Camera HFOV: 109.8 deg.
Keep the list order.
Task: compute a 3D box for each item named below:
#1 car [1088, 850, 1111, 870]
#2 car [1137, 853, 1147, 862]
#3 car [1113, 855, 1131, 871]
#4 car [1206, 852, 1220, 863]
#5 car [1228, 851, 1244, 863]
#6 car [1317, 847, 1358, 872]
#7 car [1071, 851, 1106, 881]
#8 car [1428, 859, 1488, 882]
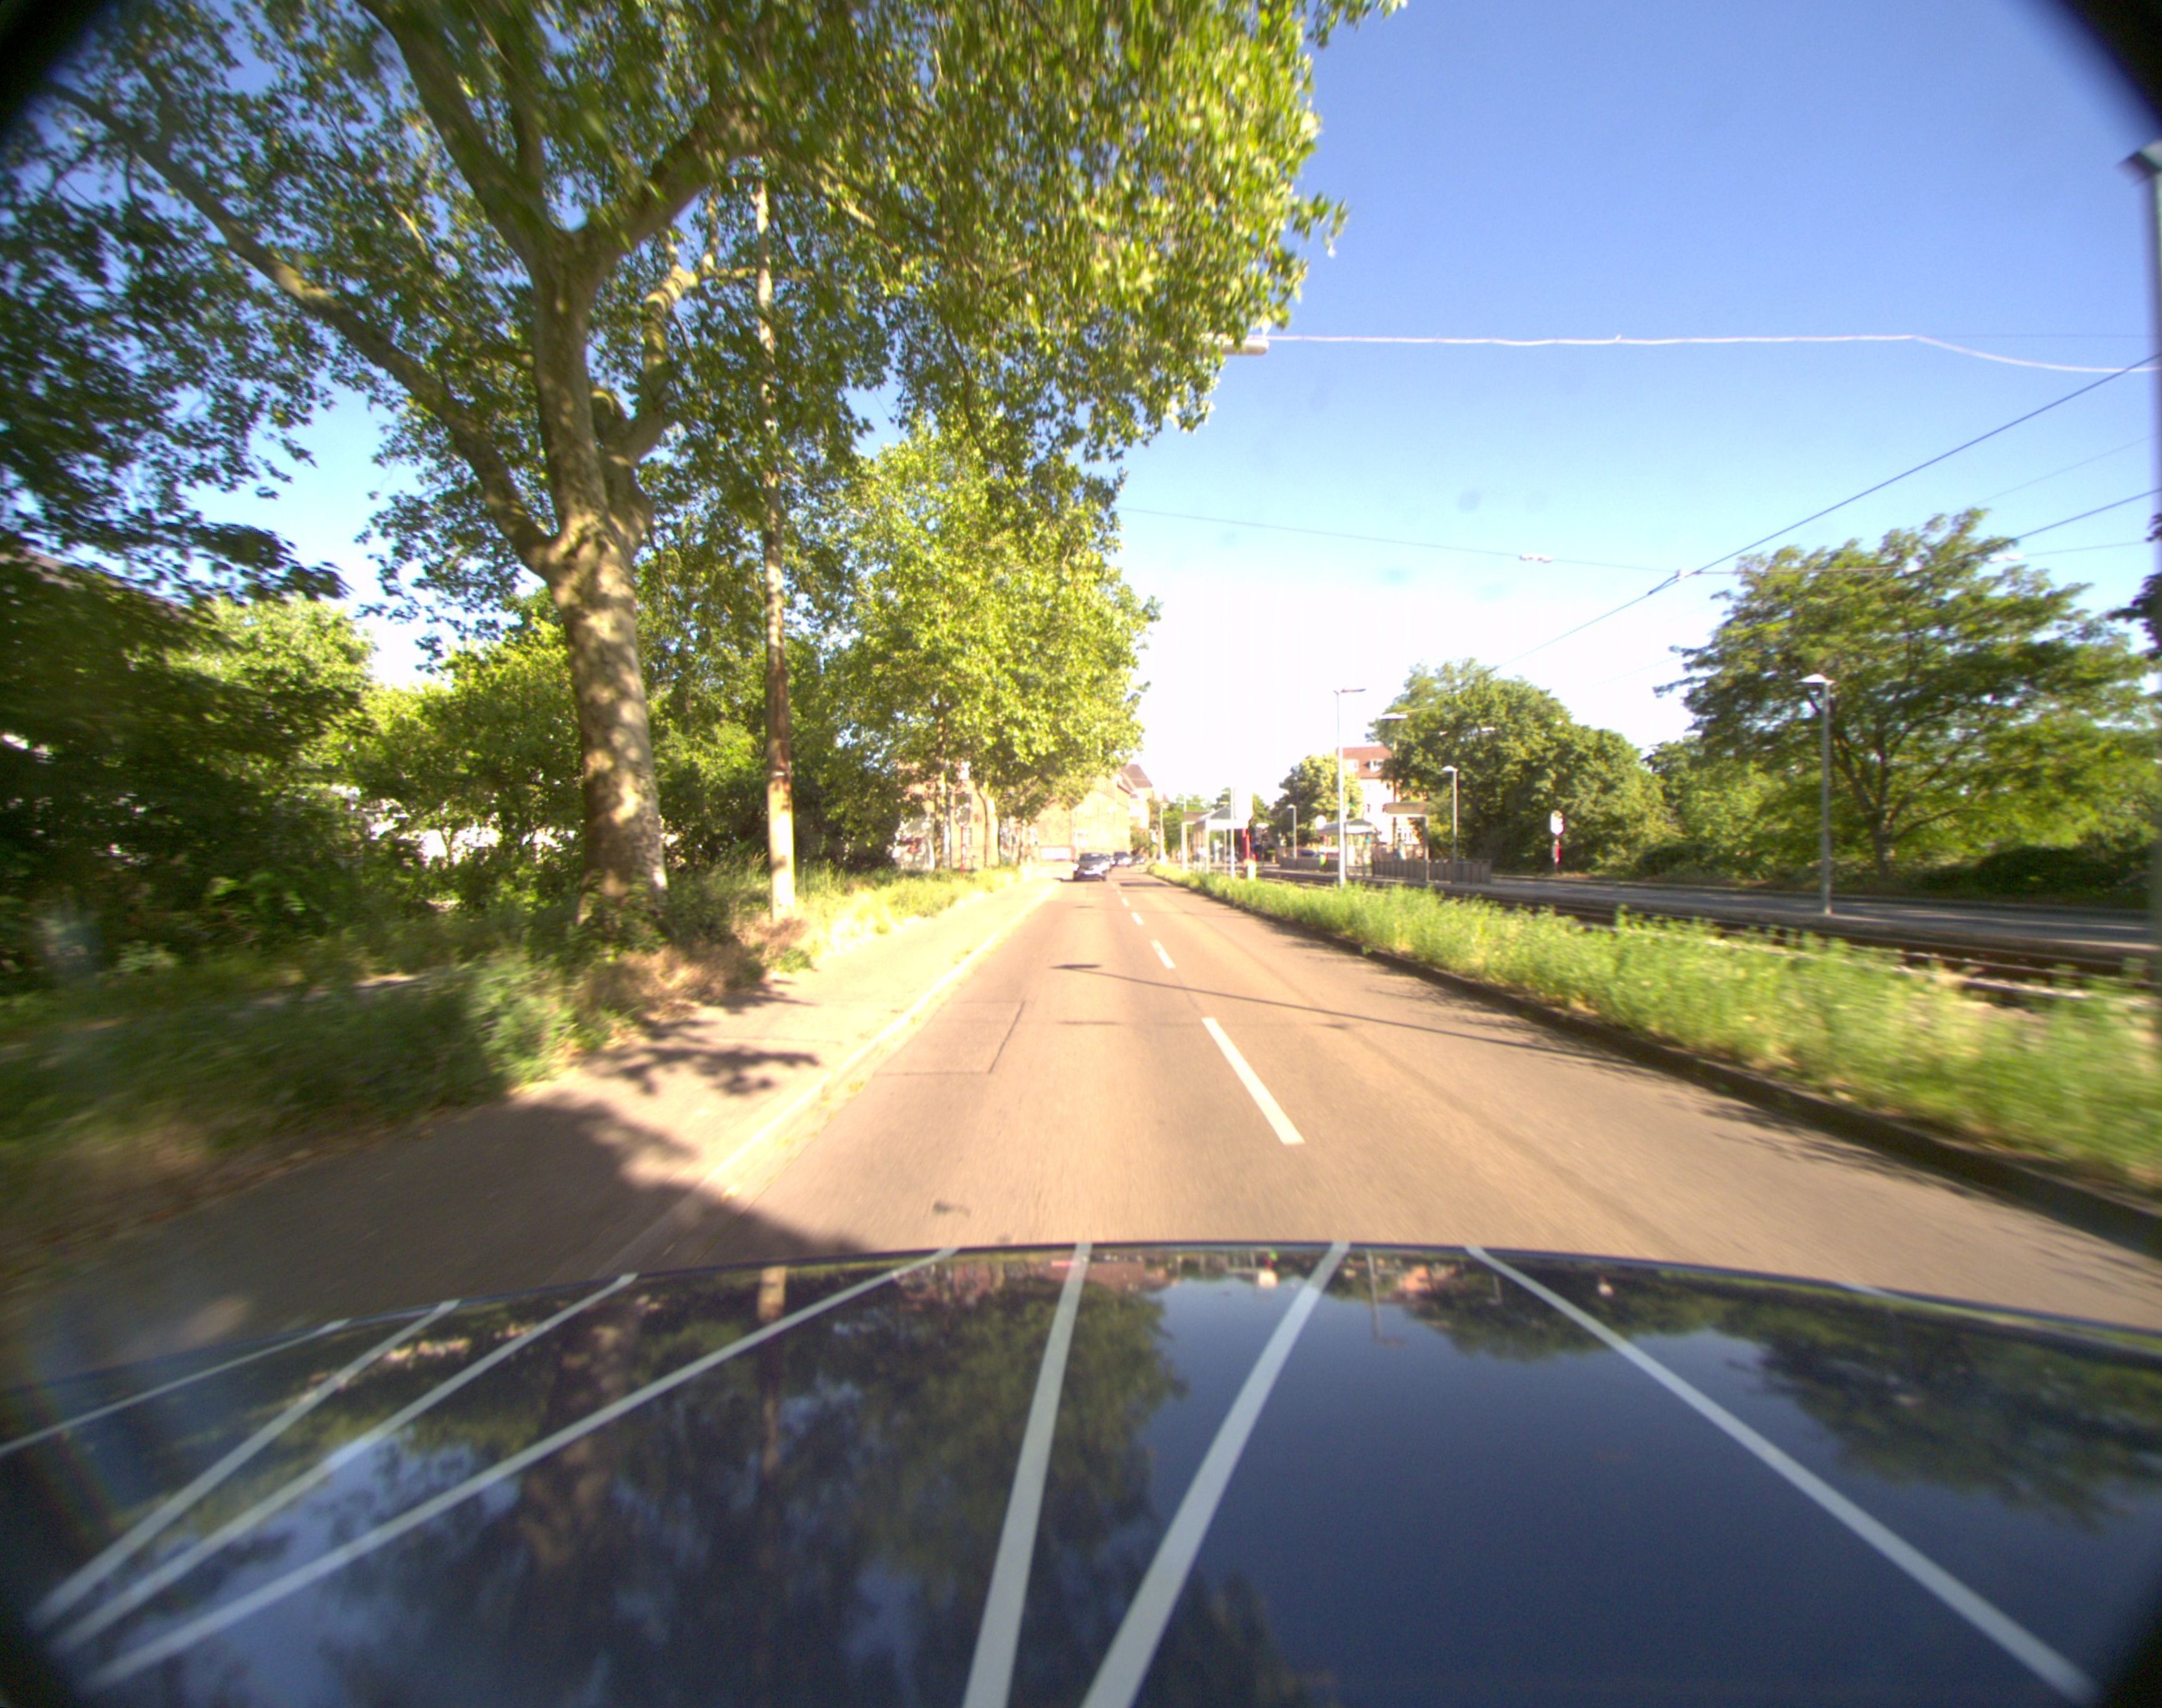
[{"bbox_3d":[1.491,0.448,60.004,1.714,1.478,3.547,-2,1,2],"label":"car"},{"bbox_3d":[8.938,0.574,111.080,1.405,1.205,3.240,-2,1,5],"label":"car"},{"bbox_3d":[4.021,0.884,74.305,1.590,1.478,3.547,-2,1,2],"label":"car"},{"bbox_3d":[20.364,0.540,117.098,1.852,1.478,3.548,-2,1,6],"label":"car"},{"bbox_3d":[19.814,0.405,97.126,1.852,1.371,3.442,-2,1,11],"label":"car"},{"bbox_3d":[17.442,0.354,51.744,1.613,1.548,3.673,-2,1,2],"label":"car"},{"bbox_3d":[0.397,0.626,41.482,1.808,1.478,3.546,-2,1,0],"label":"car"},{"bbox_3d":[20.466,0.875,41.428,1.493,1.112,3.676,-2,1,2],"label":"car"}]
